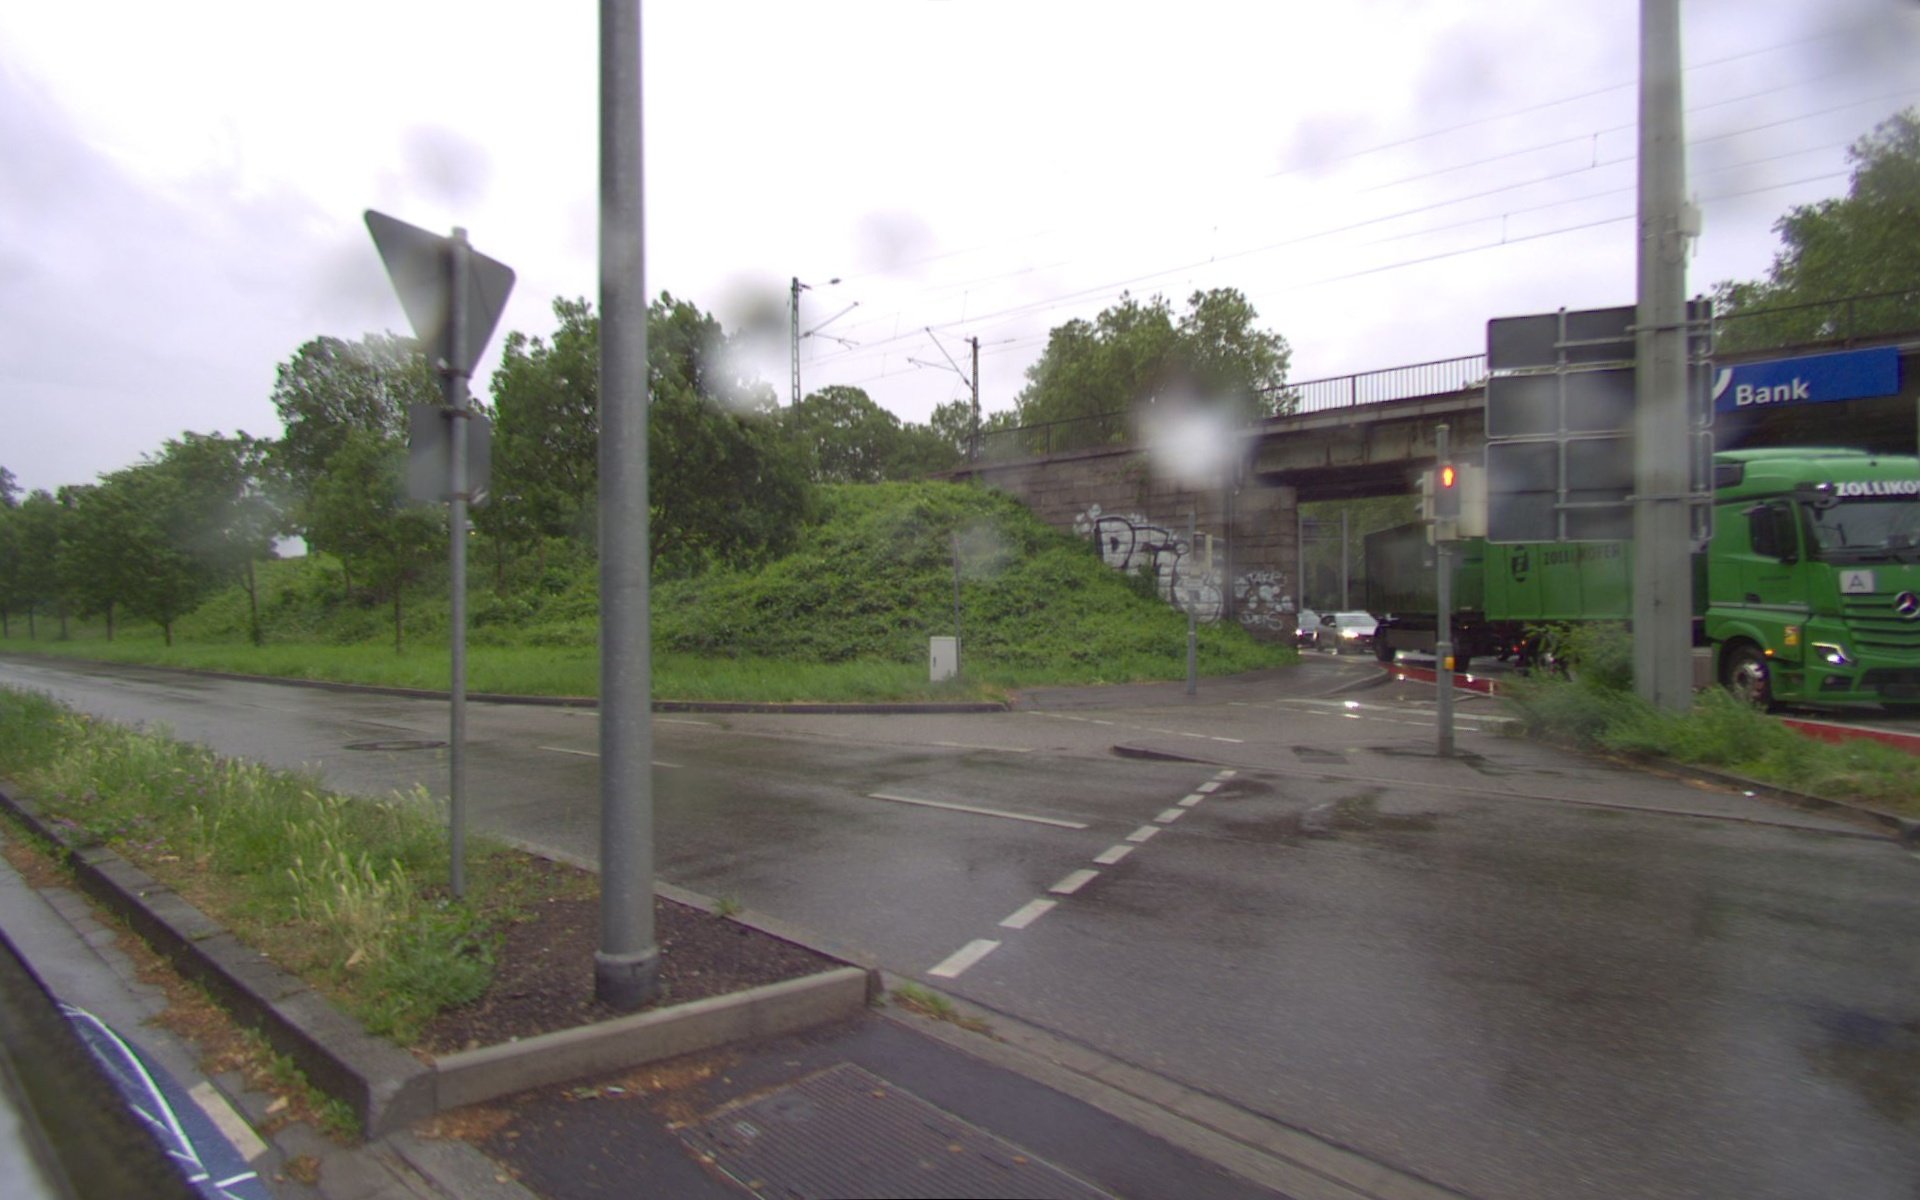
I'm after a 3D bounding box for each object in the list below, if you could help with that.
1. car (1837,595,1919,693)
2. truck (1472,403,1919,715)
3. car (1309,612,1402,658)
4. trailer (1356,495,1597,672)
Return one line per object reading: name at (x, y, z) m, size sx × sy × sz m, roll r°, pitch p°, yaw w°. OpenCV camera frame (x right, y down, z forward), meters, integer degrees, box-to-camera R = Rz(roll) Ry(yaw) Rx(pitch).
car at (15.538, 0.651, 14.756) m, size 1.725 × 1.497 × 4.676 m, roll -1°, pitch -1°, yaw 6°
truck at (12.802, -0.432, 17.983) m, size 2.652 × 3.979 × 10.184 m, roll -1°, pitch -1°, yaw 3°
car at (14.325, 1.263, 36.917) m, size 1.974 × 1.586 × 3.996 m, roll -1°, pitch -1°, yaw 3°
trailer at (13.422, -0.302, 27.332) m, size 2.655 × 4.017 × 8.508 m, roll 0°, pitch -1°, yaw 4°
